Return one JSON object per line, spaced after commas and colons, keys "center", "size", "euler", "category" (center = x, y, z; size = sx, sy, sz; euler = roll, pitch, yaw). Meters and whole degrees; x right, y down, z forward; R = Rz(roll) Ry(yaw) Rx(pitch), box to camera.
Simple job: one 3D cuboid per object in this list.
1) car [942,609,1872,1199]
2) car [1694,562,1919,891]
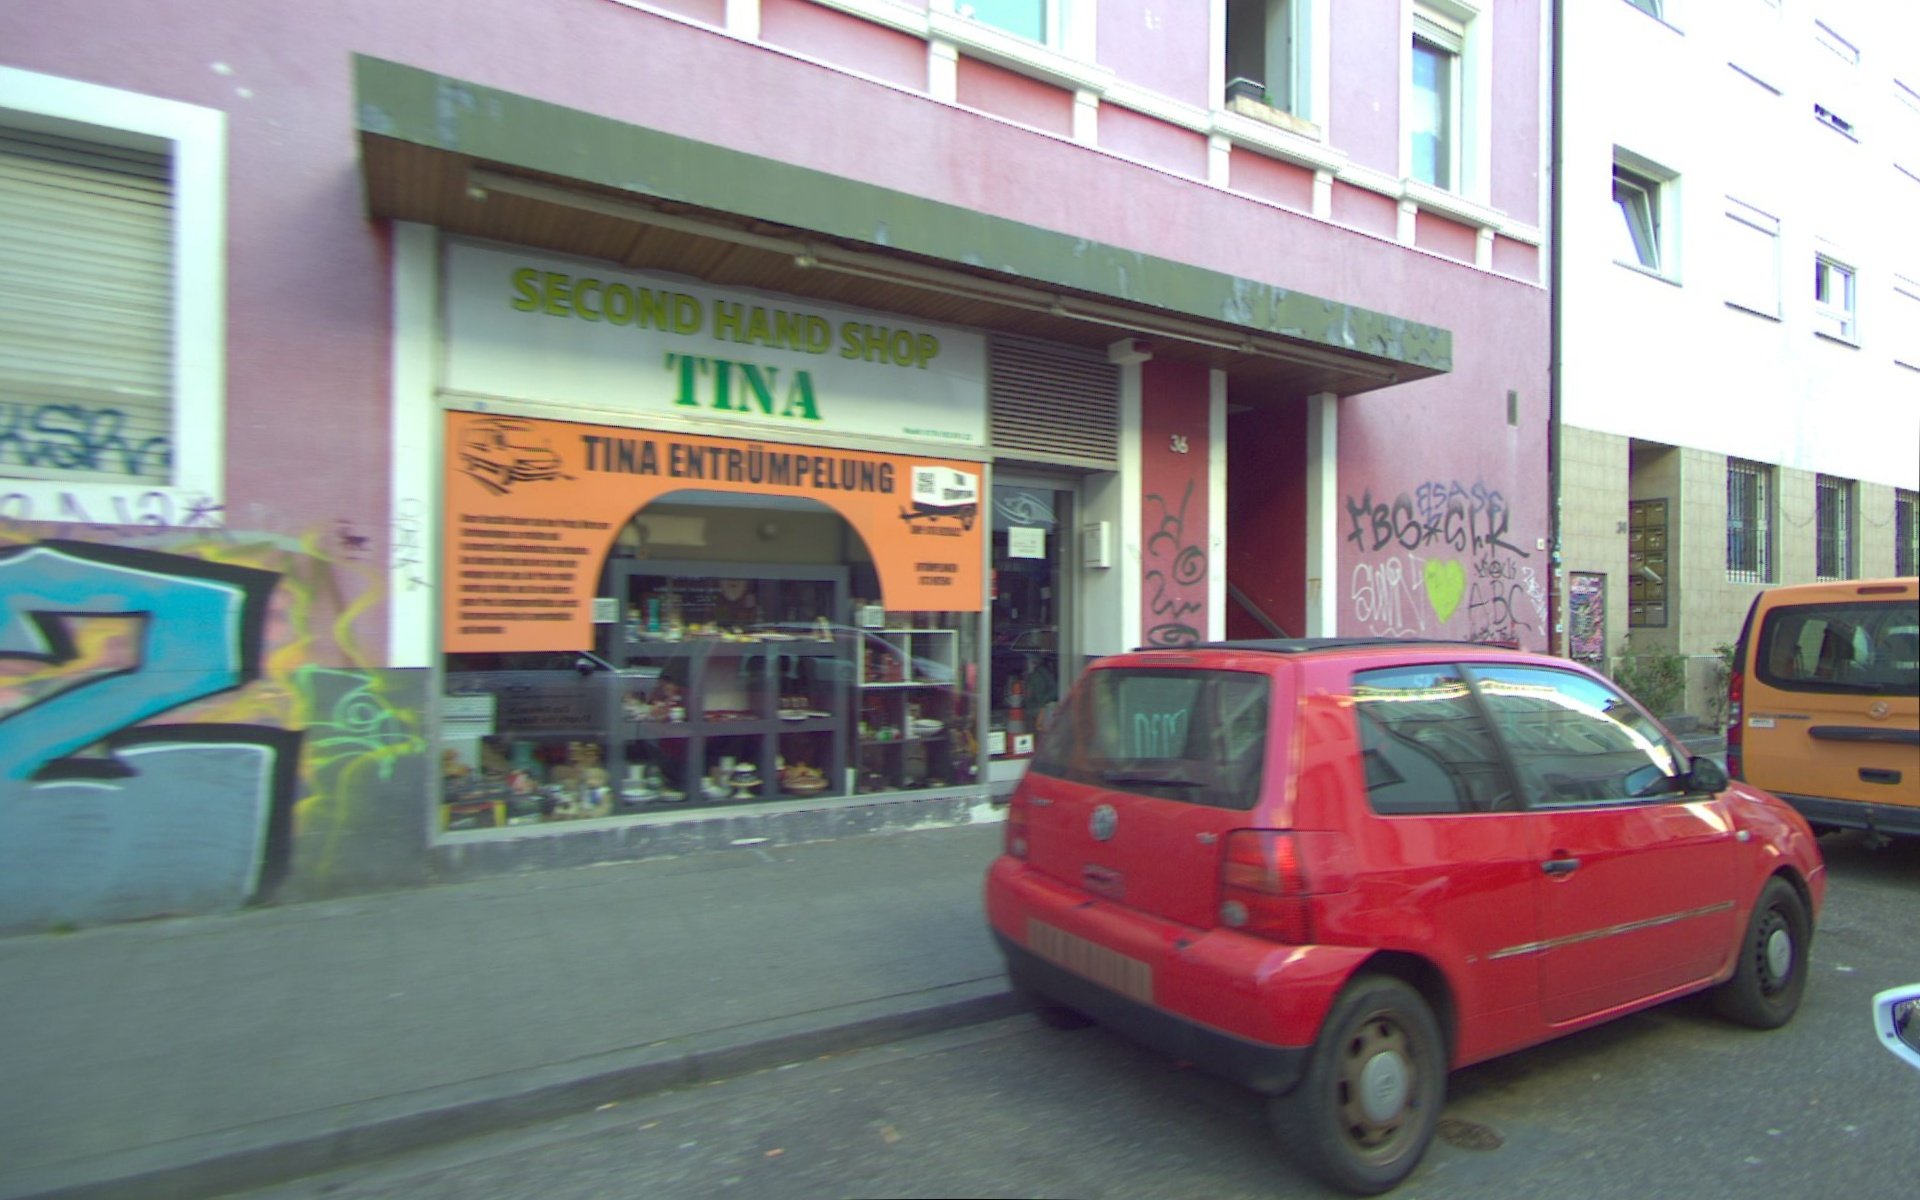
{"center": [1.833, 0.854, 3.928], "size": [3.523, 1.503, 1.571], "euler": [2, -3, -31], "category": "car"}
{"center": [7.001, 0.773, 6.875], "size": [4.031, 1.839, 1.744], "euler": [2, -3, -31], "category": "car"}
